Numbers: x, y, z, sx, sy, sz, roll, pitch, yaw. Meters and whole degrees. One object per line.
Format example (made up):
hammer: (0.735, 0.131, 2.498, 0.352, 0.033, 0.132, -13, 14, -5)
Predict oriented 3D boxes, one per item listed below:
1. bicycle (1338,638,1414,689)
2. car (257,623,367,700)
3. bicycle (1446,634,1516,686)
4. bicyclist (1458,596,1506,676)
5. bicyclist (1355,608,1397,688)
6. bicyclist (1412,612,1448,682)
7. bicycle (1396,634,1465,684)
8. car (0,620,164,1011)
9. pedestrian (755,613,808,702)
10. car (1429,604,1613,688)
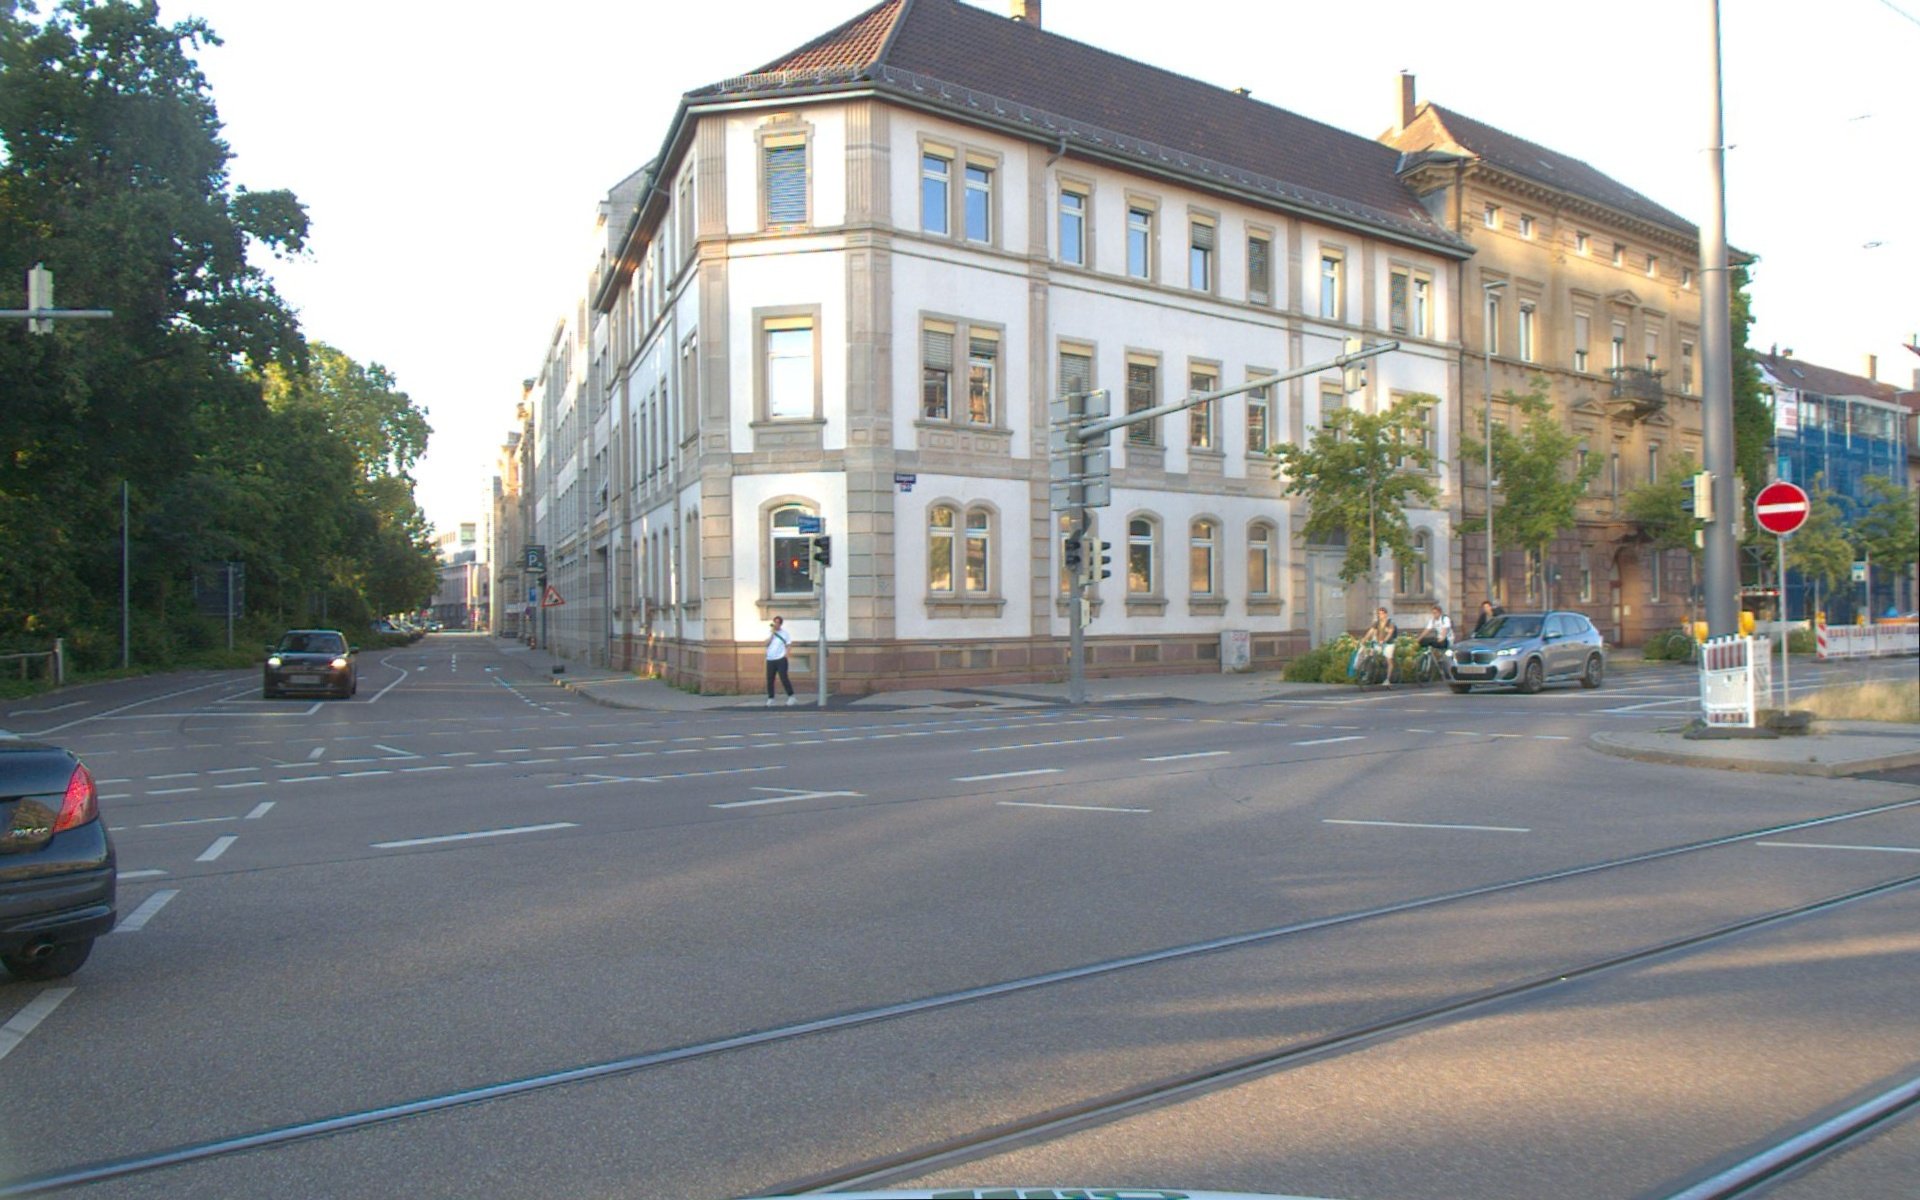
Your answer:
bicycle: (9.179, 1.379, 36.454, 2.027, 1.070, 0.521, 0, -1, -39)
car: (-14.125, 1.297, 36.226, 1.793, 1.543, 3.562, -1, 0, -15)
bicycle: (11.749, 1.347, 37.258, 0.708, 1.070, 2.032, -5, -3, 41)
bicyclist: (11.784, 0.815, 37.340, 0.693, 1.731, 0.764, -5, -2, 40)
bicyclist: (9.167, 1.043, 36.454, 0.760, 1.731, 0.503, 0, -1, -39)
bicyclist: (10.819, 1.077, 38.041, 0.686, 1.576, 0.505, 0, 0, -40)
bicycle: (10.835, 1.354, 38.063, 2.025, 1.070, 0.510, 0, 0, -41)
car: (-5.367, 0.857, 7.160, 3.818, 1.475, 1.720, -1, 0, 33)
pedestrian: (-3.447, 1.104, 31.958, 0.800, 1.685, 0.636, -1, -1, 28)
car: (11.747, 0.933, 34.491, 4.224, 1.625, 1.806, 0, -2, -42)
